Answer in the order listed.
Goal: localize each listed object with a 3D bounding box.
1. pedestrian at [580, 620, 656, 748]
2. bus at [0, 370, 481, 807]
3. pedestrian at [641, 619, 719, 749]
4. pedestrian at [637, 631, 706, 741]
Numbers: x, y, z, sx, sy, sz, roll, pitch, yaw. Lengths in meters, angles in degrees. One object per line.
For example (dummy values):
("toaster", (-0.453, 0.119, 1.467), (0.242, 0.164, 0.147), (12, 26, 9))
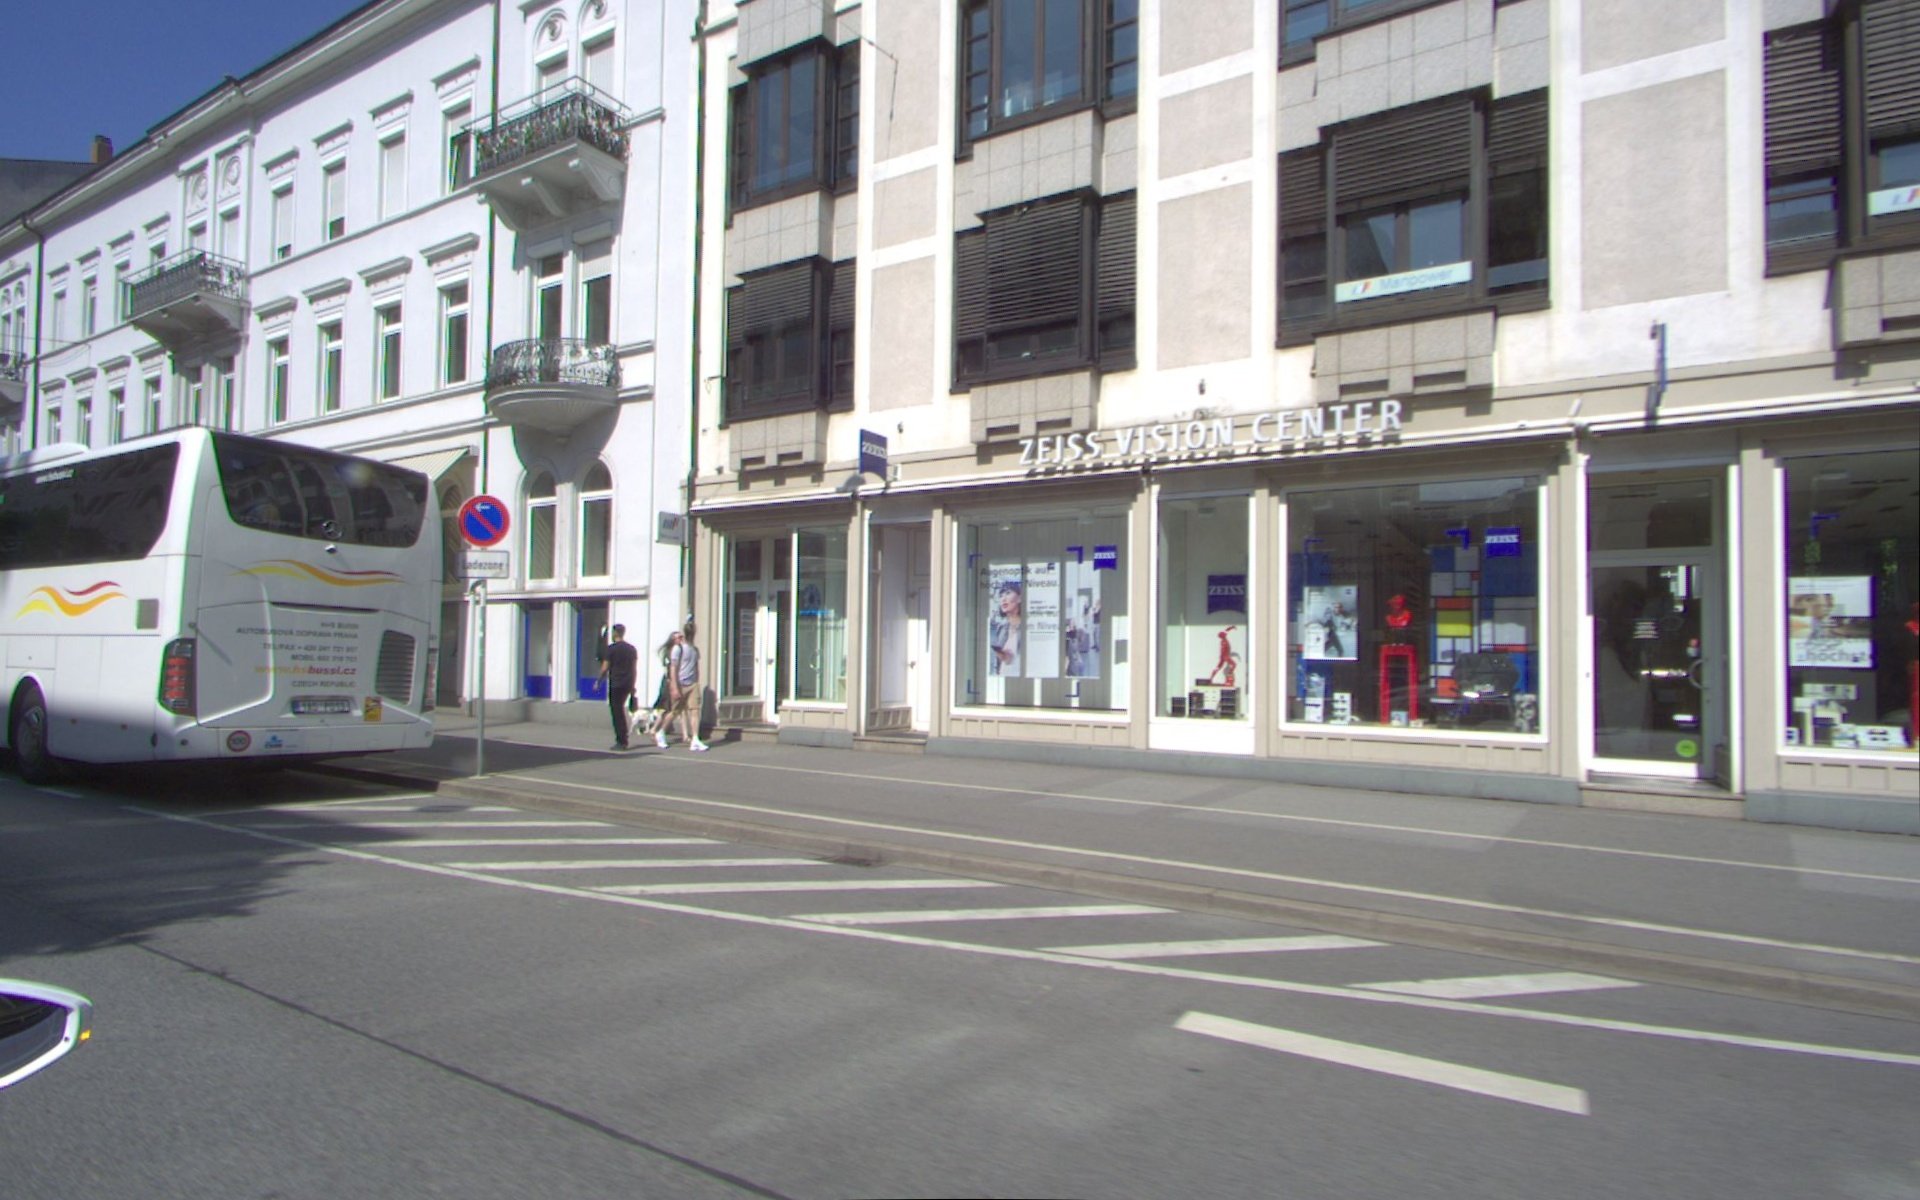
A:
("pedestrian", (-4.848, 1.170, 14.193), (0.824, 1.741, 0.619), (0, -2, 34))
("bus", (-11.426, 0.068, 13.031), (12.242, 3.786, 2.881), (-1, -5, 31))
("pedestrian", (-4.034, 1.199, 14.444), (1.006, 1.800, 0.572), (-2, -3, 34))
("pedestrian", (-4.434, 1.308, 15.388), (0.811, 1.637, 0.644), (-2, -3, 34))
